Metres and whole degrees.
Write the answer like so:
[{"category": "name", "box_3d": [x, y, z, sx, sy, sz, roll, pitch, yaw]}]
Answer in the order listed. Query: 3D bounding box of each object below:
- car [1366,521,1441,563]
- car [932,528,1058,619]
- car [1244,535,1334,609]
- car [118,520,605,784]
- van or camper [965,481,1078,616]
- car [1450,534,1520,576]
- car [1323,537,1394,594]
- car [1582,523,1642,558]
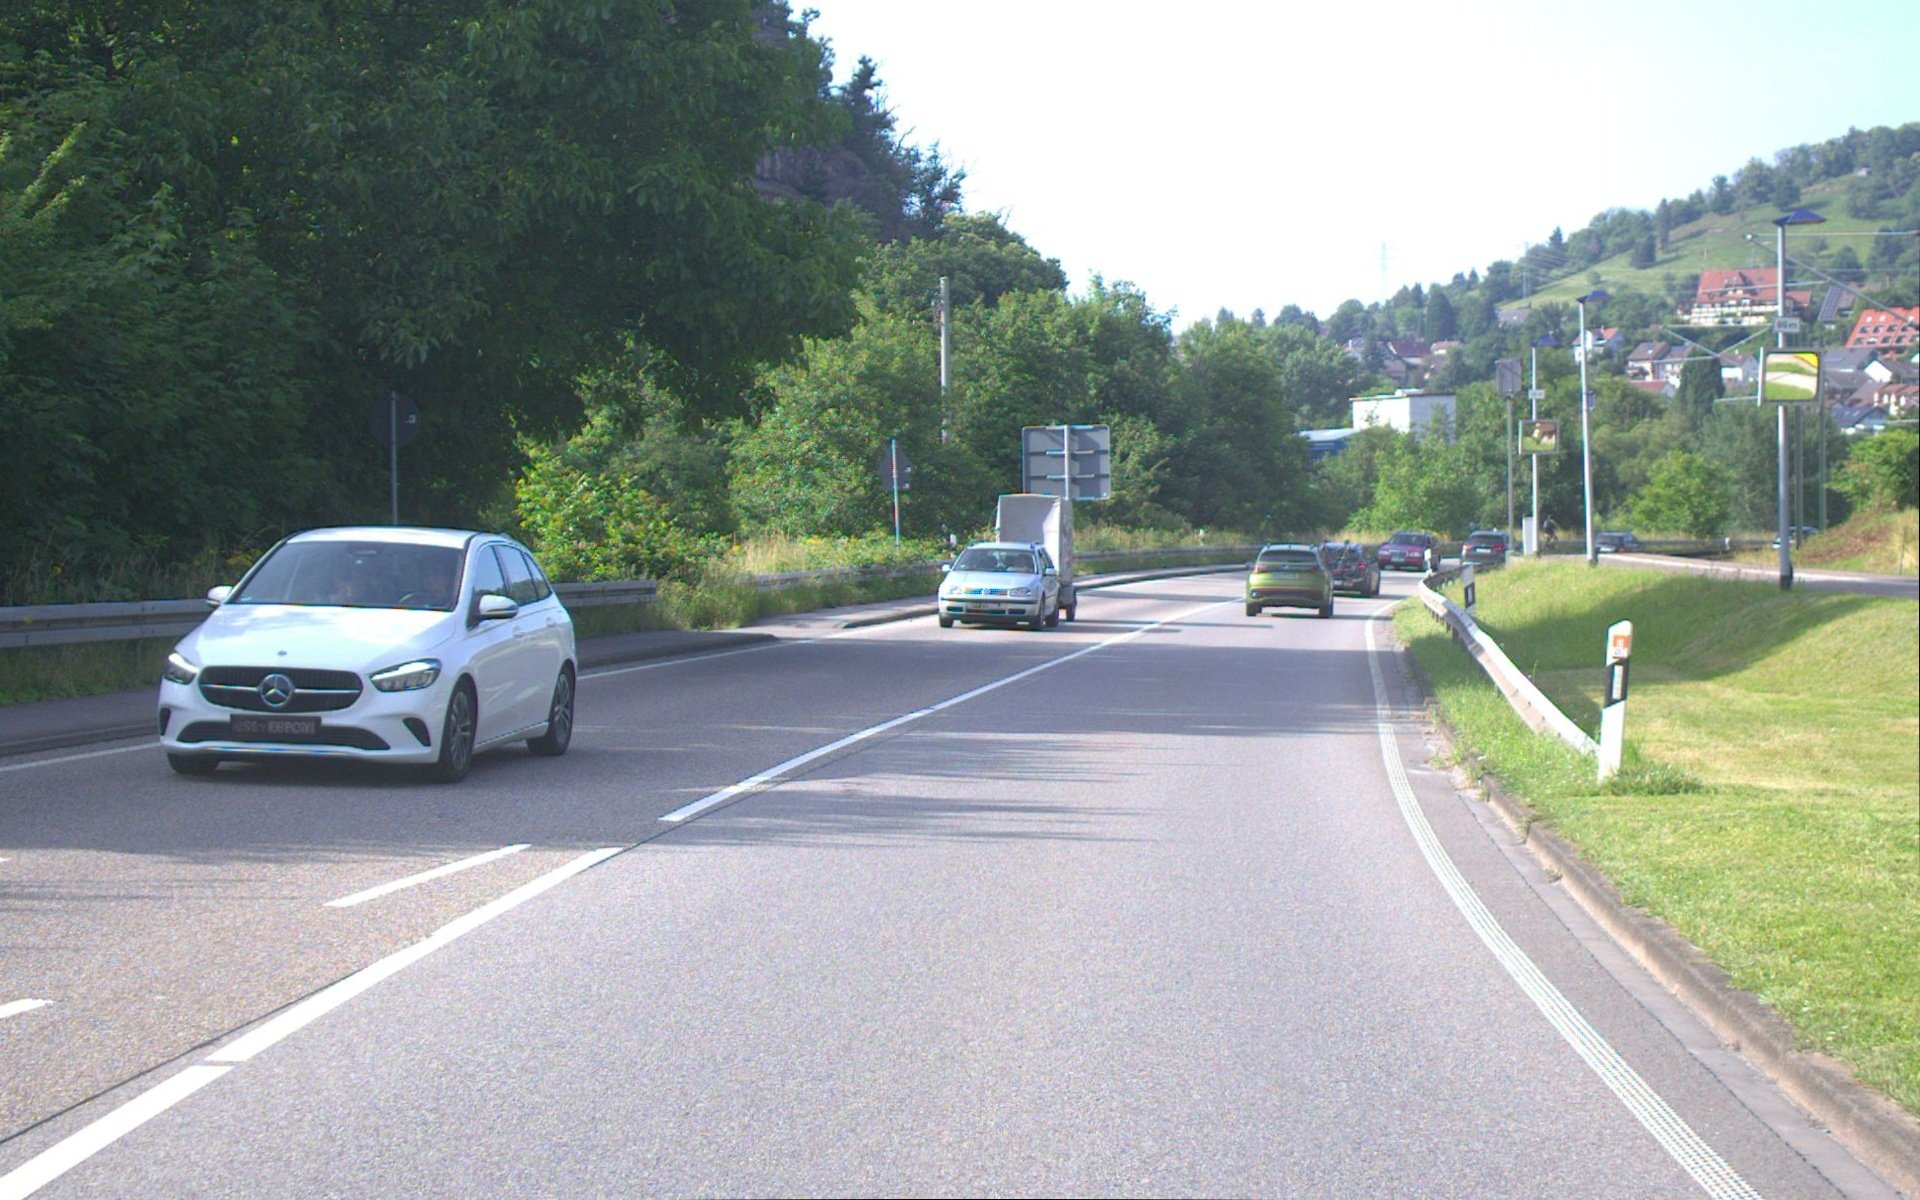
[{"category": "car", "box_3d": [16.644, -2.164, 128.826, 1.843, 1.464, 4.939, 3, 2, 18]}, {"category": "car", "box_3d": [0.639, -0.485, 58.478, 1.649, 1.431, 4.605, 2, 1, 6]}, {"category": "car", "box_3d": [6.884, -0.606, 71.751, 1.729, 1.452, 3.410, -1, 1, 7]}, {"category": "car", "box_3d": [-3.708, 0.248, 22.187, 1.945, 1.481, 4.584, 1, 1, 5]}, {"category": "van or camper", "box_3d": [1.153, -0.962, 62.772, 1.603, 2.321, 4.059, 2, 2, 6]}, {"category": "car", "box_3d": [19.148, -1.661, 125.229, 1.808, 1.448, 3.644, -1, 1, 20]}, {"category": "car", "box_3d": [10.824, -0.955, 93.371, 1.840, 1.454, 3.712, -1, 1, 7]}, {"category": "car", "box_3d": [27.956, -2.564, 147.287, 1.810, 1.403, 3.769, -1, 1, 22]}]
